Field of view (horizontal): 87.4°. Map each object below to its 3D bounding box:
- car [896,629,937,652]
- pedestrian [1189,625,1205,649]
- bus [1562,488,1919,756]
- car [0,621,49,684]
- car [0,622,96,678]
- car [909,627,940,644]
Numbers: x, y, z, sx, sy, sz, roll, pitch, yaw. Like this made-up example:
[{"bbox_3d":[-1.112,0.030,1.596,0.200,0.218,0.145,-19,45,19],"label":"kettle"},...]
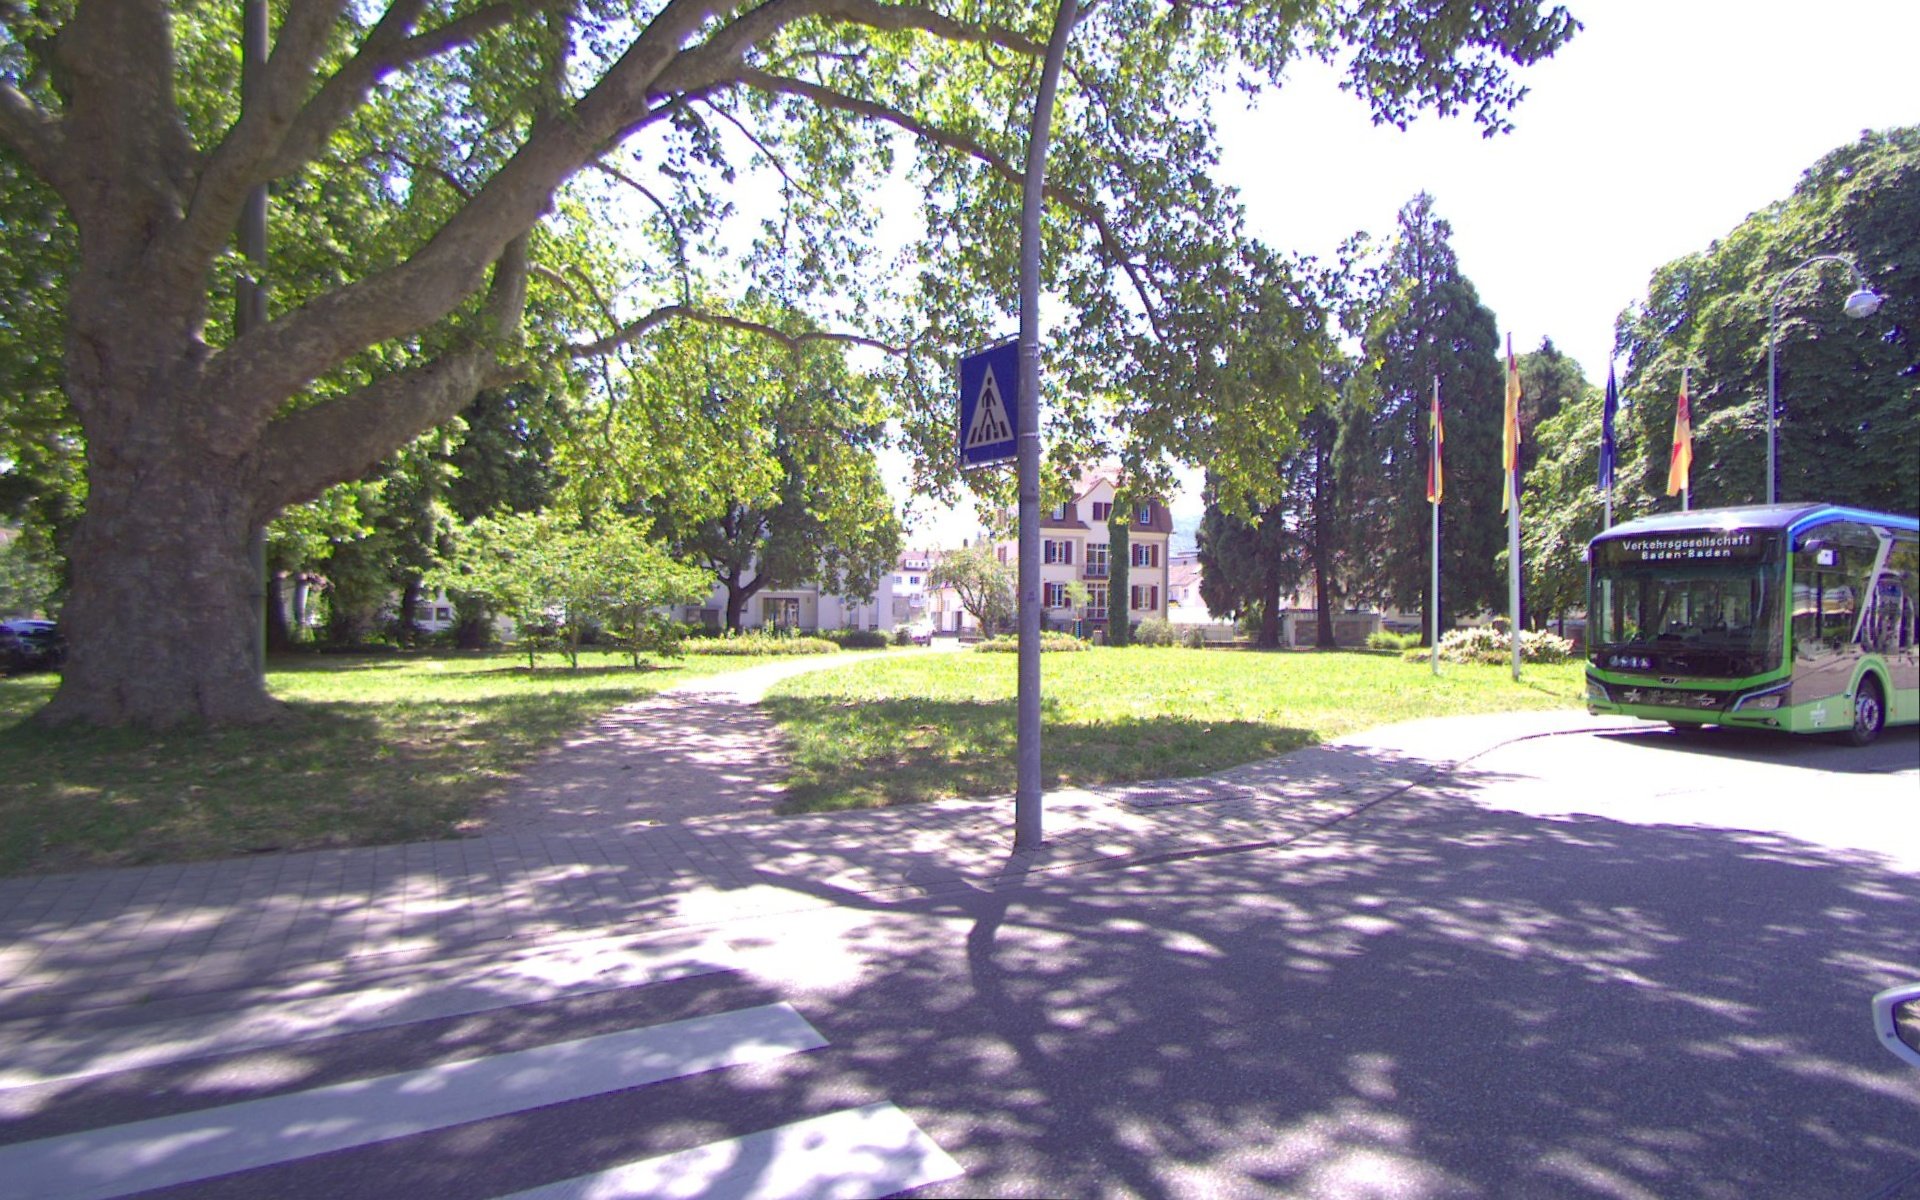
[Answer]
[{"bbox_3d":[-3.336,3.089,76.407,1.970,1.604,3.982,2,-3,-21],"label":"car"},{"bbox_3d":[14.756,2.297,62.550,0.811,1.389,0.618,3,1,21],"label":"pedestrian"},{"bbox_3d":[14.957,0.386,16.716,12.274,3.326,2.796,1,-1,-29],"label":"bus"},{"bbox_3d":[-24.932,1.308,25.444,1.738,1.513,4.343,1,-1,-28],"label":"car"},{"bbox_3d":[-27.064,1.431,29.493,1.738,1.513,3.889,1,-1,-28],"label":"car"},{"bbox_3d":[-3.585,3.646,101.989,1.970,1.604,3.982,2,-3,-21],"label":"car"}]
